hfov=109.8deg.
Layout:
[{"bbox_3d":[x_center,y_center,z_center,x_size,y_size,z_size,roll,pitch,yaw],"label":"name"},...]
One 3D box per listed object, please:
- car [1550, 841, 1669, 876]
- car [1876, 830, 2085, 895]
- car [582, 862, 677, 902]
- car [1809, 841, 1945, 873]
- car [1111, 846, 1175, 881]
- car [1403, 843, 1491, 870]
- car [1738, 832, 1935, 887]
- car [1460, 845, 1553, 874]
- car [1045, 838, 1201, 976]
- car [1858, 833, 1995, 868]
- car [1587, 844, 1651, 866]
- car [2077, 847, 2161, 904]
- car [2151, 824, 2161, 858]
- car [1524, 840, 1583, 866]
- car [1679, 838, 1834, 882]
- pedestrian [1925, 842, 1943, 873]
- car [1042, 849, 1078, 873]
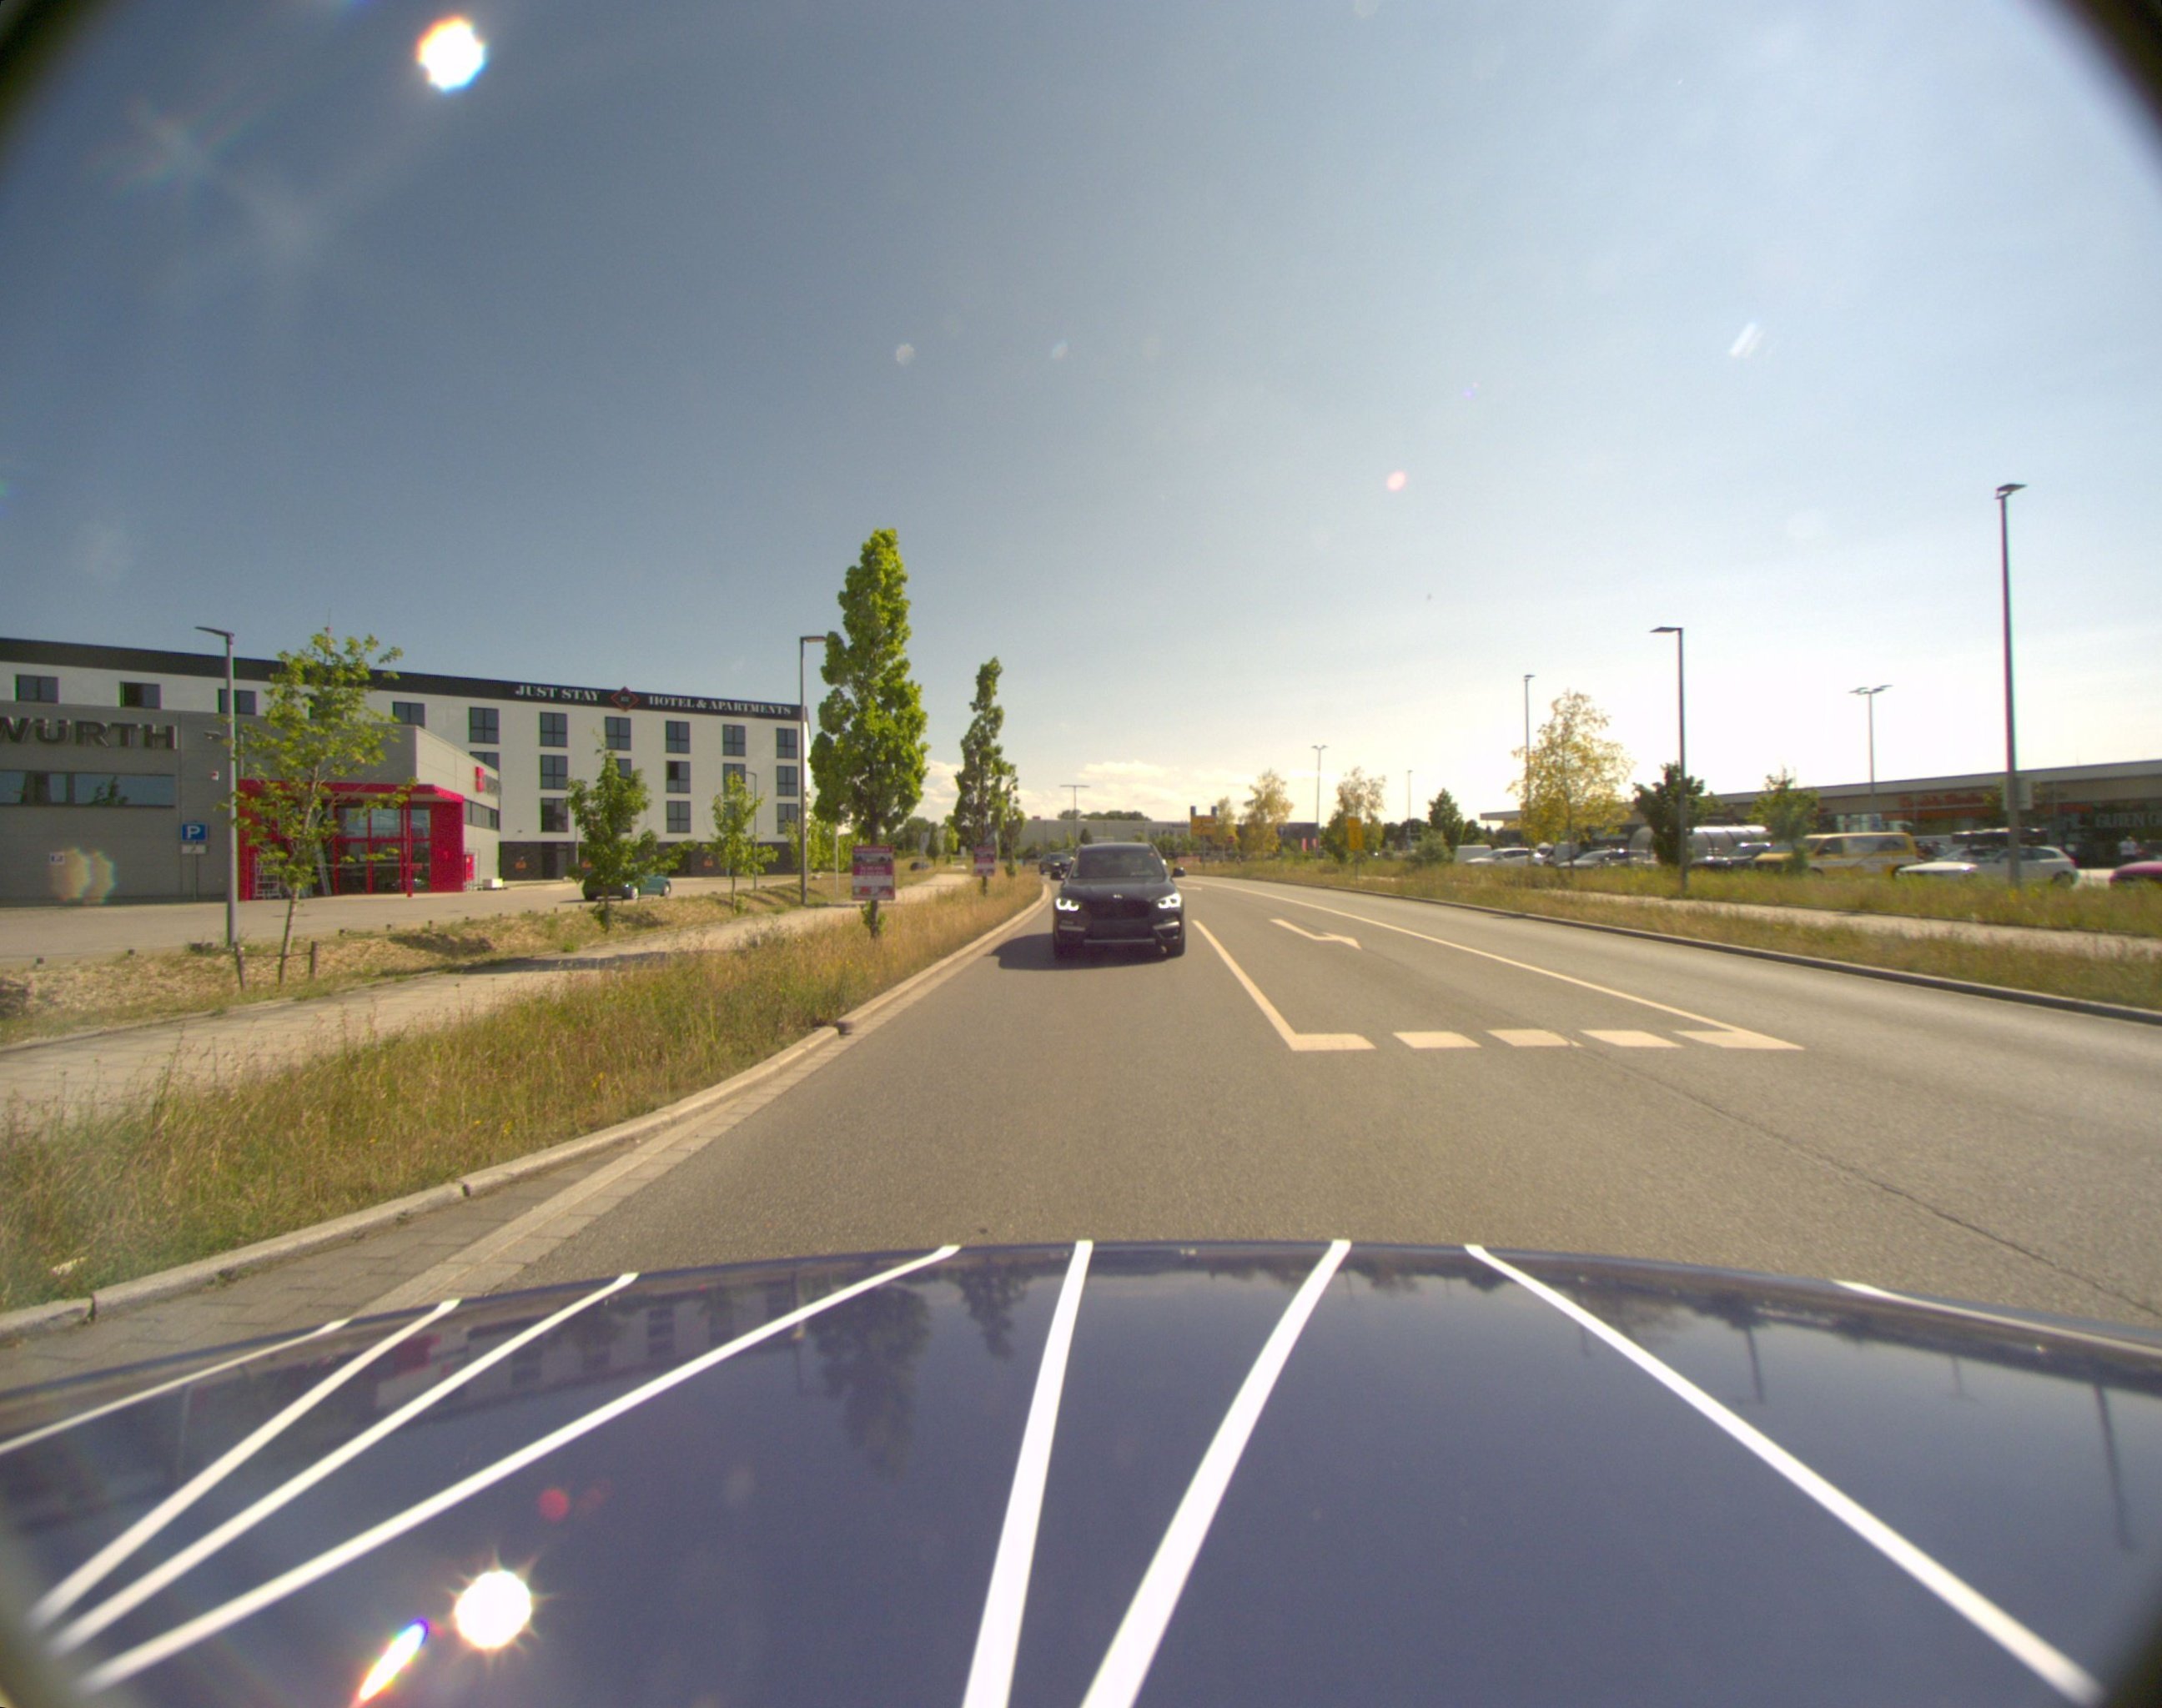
[{"bbox_3d":[26.570,0.208,38.286,4.715,1.662,1.999,-1,0,-5],"label":"car"},{"bbox_3d":[27.499,0.246,23.338,4.154,1.850,1.932,-1,0,0],"label":"car"},{"bbox_3d":[-17.468,1.048,29.631,1.517,1.399,3.998,-1,0,-4],"label":"car"},{"bbox_3d":[39.550,0.152,37.904,1.719,1.517,4.347,-1,0,-20],"label":"car"},{"bbox_3d":[3.054,0.501,38.465,2.116,1.633,4.774,-1,-1,-9],"label":"car"},{"bbox_3d":[24.595,0.155,51.068,5.198,1.662,1.998,-1,0,-11],"label":"car"},{"bbox_3d":[28.190,0.193,28.454,5.697,1.953,1.999,-1,0,-4],"label":"car"},{"bbox_3d":[25.769,0.316,46.070,4.603,1.662,1.999,-1,0,-6],"label":"car"},{"bbox_3d":[0.485,0.710,11.733,1.901,1.669,4.467,-2,-1,-1],"label":"car"},{"bbox_3d":[44.539,-0.182,40.180,1.718,1.731,4.577,-1,0,-16],"label":"car"},{"bbox_3d":[39.795,0.096,56.215,4.003,1.543,1.841,-1,0,-17],"label":"car"},{"bbox_3d":[27.613,0.483,18.468,4.154,1.340,1.936,-1,0,2],"label":"car"},{"bbox_3d":[59.980,-0.709,41.015,4.360,1.797,1.714,-1,0,-24],"label":"car"},{"bbox_3d":[47.135,-0.112,75.773,5.724,2.573,1.936,-1,0,-20],"label":"car"},{"bbox_3d":[27.175,0.248,30.644,4.781,1.662,1.881,-1,0,-4],"label":"car"},{"bbox_3d":[40.702,0.162,36.262,0.510,1.456,0.413,-1,1,-17],"label":"pedestrian"},{"bbox_3d":[-1.619,0.495,55.937,1.758,1.678,4.375,-1,0,-14],"label":"car"}]
